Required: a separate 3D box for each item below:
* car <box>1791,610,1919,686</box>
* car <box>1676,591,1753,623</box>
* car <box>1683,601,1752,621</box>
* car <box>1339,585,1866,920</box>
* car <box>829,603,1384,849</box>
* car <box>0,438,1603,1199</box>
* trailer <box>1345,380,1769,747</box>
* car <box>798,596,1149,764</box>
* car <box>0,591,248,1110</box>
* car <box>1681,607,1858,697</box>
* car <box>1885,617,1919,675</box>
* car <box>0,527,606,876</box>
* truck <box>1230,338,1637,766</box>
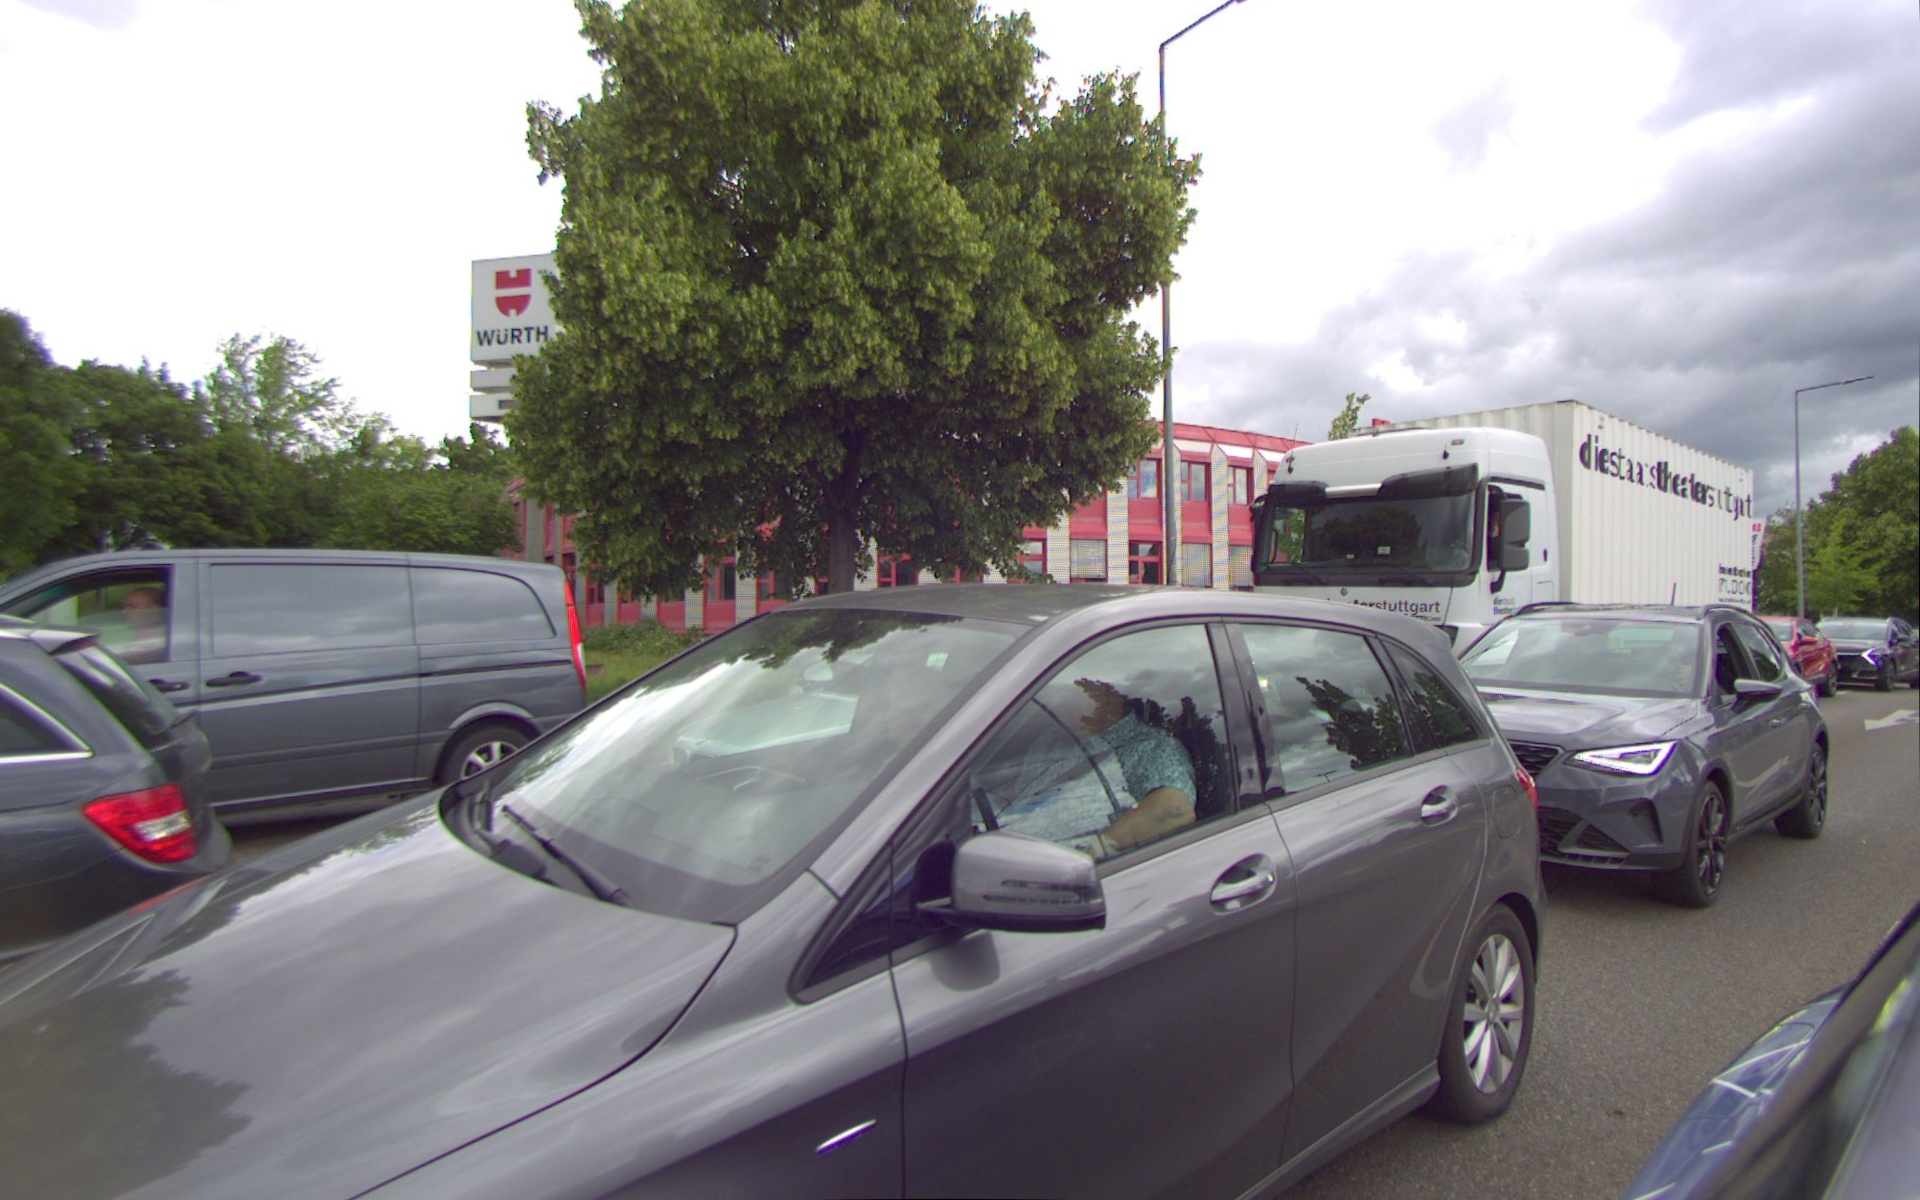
[{"bbox_3d":[21.030,1.058,23.272,4.319,1.581,1.851,1,-1,-34],"label":"car"},{"bbox_3d":[50.600,0.492,67.937,1.610,1.984,3.769,4,-3,-31],"label":"car"},{"bbox_3d":[57.108,0.825,76.342,1.720,1.382,3.769,4,-3,-31],"label":"car"},{"bbox_3d":[4.260,0.693,6.467,3.928,1.505,1.702,1,0,-39],"label":"car"},{"bbox_3d":[1.240,0.741,7.639,4.040,1.371,1.817,1,-1,-36],"label":"car"},{"bbox_3d":[-0.070,0.636,2.707,4.111,1.543,1.803,0,-1,-39],"label":"car"},{"bbox_3d":[8.441,-0.319,13.779,7.624,3.753,2.571,1,-1,-40],"label":"trailer"},{"bbox_3d":[0.241,0.788,11.018,3.620,1.516,1.643,0,-4,-42],"label":"car"},{"bbox_3d":[-4.430,0.682,2.585,4.137,1.453,1.829,1,0,-40],"label":"car"},{"bbox_3d":[15.645,0.937,19.492,4.239,1.543,1.712,1,-1,-37],"label":"car"},{"bbox_3d":[26.433,1.246,27.119,4.405,1.466,1.676,2,-1,-37],"label":"car"},{"bbox_3d":[-4.850,0.537,6.638,4.425,1.827,1.829,0,-1,-40],"label":"car"},{"bbox_3d":[5.282,-0.395,11.148,4.032,3.753,2.576,2,-1,-40],"label":"truck"}]
